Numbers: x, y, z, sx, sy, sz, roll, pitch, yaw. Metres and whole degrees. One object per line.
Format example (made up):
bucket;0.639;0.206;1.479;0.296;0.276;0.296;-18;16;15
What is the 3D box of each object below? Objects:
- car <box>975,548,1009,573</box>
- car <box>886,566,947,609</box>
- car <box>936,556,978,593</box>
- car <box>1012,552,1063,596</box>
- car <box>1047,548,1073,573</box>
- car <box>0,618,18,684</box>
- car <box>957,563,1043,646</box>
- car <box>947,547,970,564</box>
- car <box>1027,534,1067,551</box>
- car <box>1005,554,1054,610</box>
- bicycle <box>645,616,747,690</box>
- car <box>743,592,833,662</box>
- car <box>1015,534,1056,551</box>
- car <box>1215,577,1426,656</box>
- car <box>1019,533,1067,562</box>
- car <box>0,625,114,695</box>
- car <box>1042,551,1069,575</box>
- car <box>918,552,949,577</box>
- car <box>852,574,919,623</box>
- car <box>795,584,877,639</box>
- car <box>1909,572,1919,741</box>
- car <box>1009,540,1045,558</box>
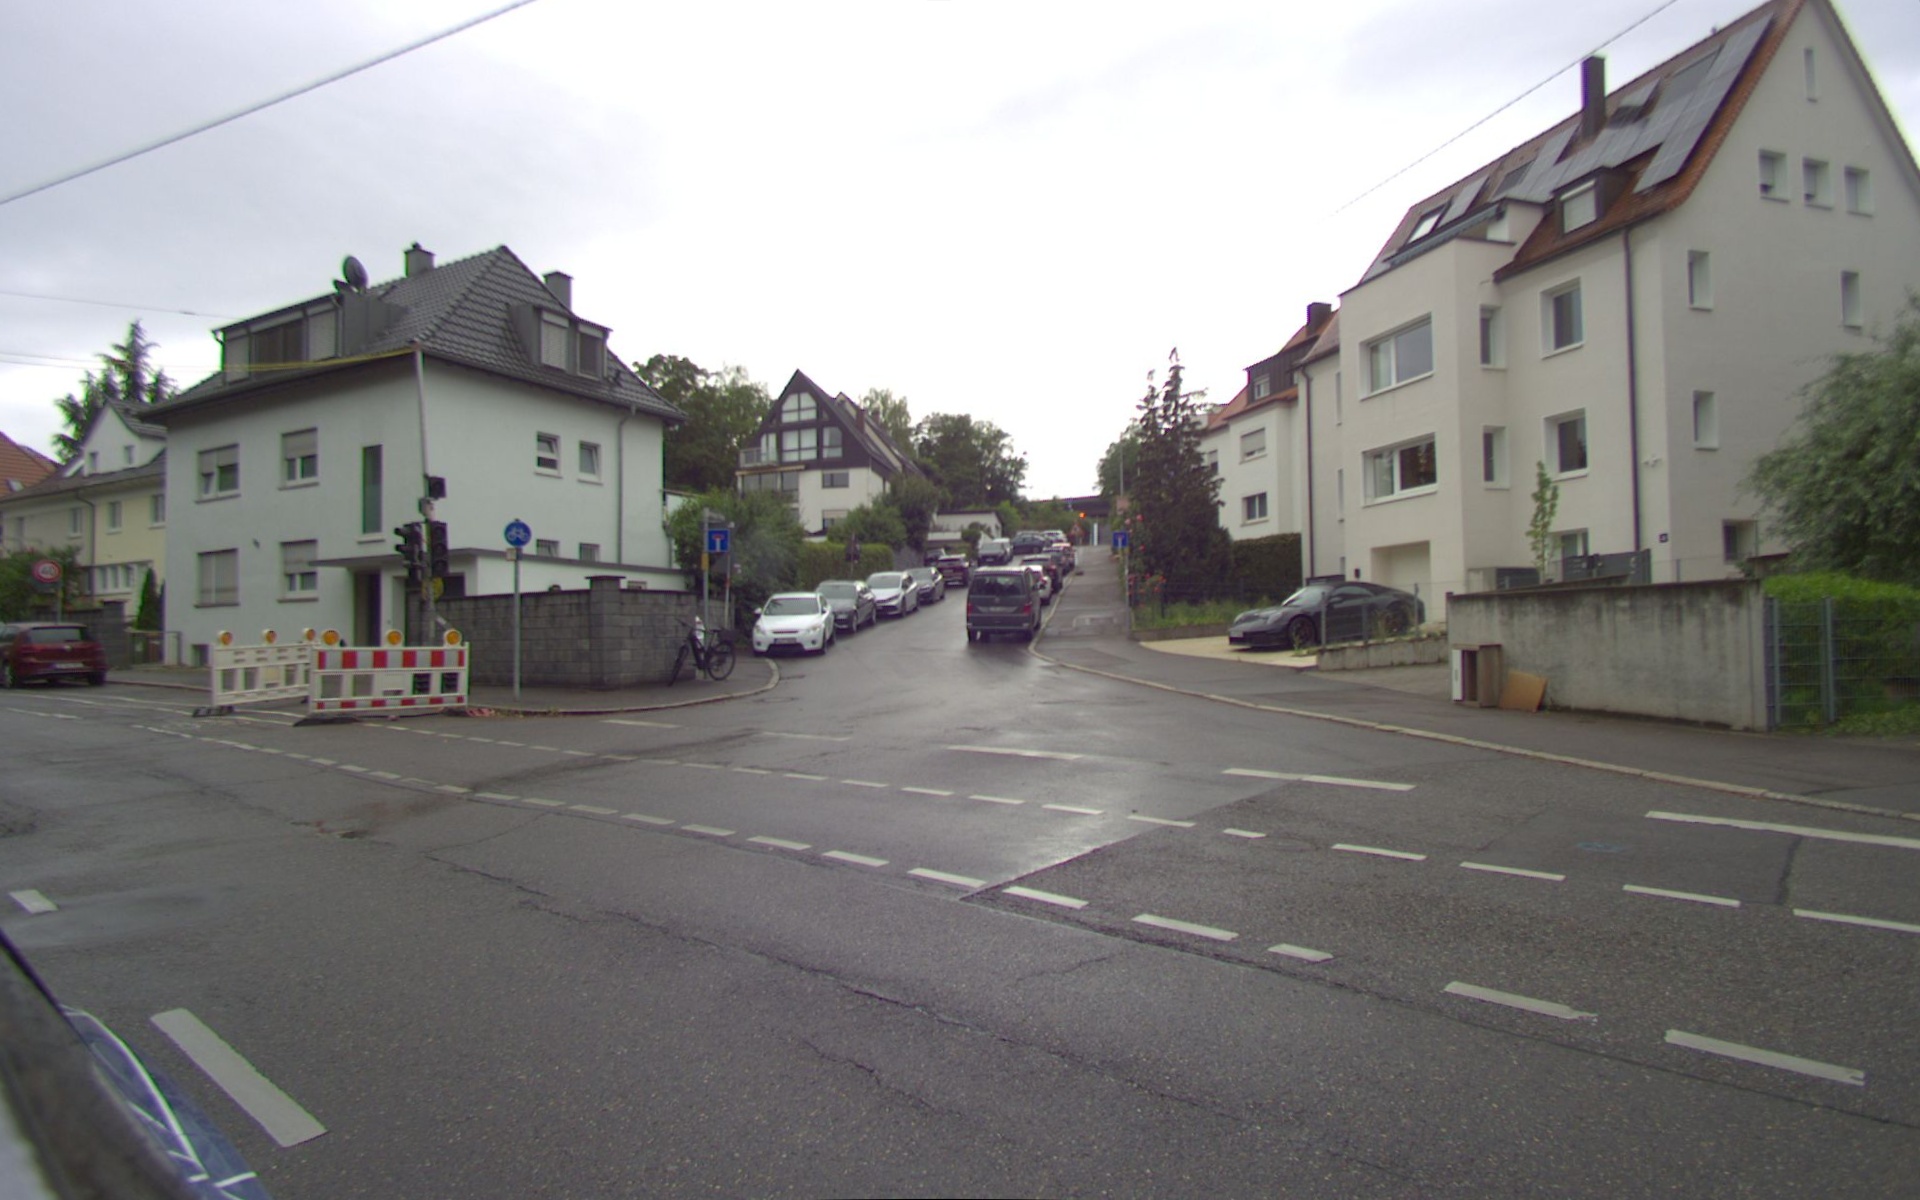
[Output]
car;2.199;-2.665;68.875;1.770;1.531;4.016;-1;0;9
car;-1.802;-0.551;42.949;1.903;1.448;4.100;-1;5;7
car;-0.110;-1.360;52.454;1.623;1.637;3.992;-1;5;8
car;3.525;-1.191;45.366;1.823;1.699;4.039;-1;5;11
car;6.241;-2.444;62.838;1.488;1.373;3.465;-1;0;8
car;-26.148;1.320;25.762;4.131;1.653;1.782;-1;-1;25
car;1.247;0.050;29.314;1.978;2.028;4.482;-1;4;9
car;-0.079;-3.253;74.011;1.559;1.220;3.650;-1;3;2
car;8.940;-5.891;103.905;3.782;1.529;1.664;-1;-1;15
car;2.824;-0.753;40.313;1.686;1.843;4.194;-1;6;7
bicycle;-4.780;0.931;18.446;0.508;1.249;1.984;1;0;32
car;-4.348;0.625;26.145;1.827;1.473;4.124;-1;3;-3
car;7.392;-5.581;98.779;3.922;1.528;1.748;-1;0;6
car;7.713;0.332;21.761;3.942;1.290;1.613;-5;1;-13
car;7.204;-4.555;87.633;3.954;2.028;1.995;-5;-1;8
car;-21.463;1.336;23.370;3.833;1.443;1.768;-1;-1;30
car;5.506;-2.140;58.101;1.274;1.325;2.984;-1;3;10
car;-1.824;-2.413;69.782;1.793;1.566;4.009;-1;0;3
car;-2.653;-0.083;37.076;1.738;1.481;3.940;-1;4;6
car;-3.822;0.320;31.807;1.702;1.397;3.900;-1;4;6
car;10.611;0.419;8.538;3.934;1.497;1.780;-2;-1;-12
car;5.555;-4.192;83.644;2.914;1.328;1.282;-1;0;4
